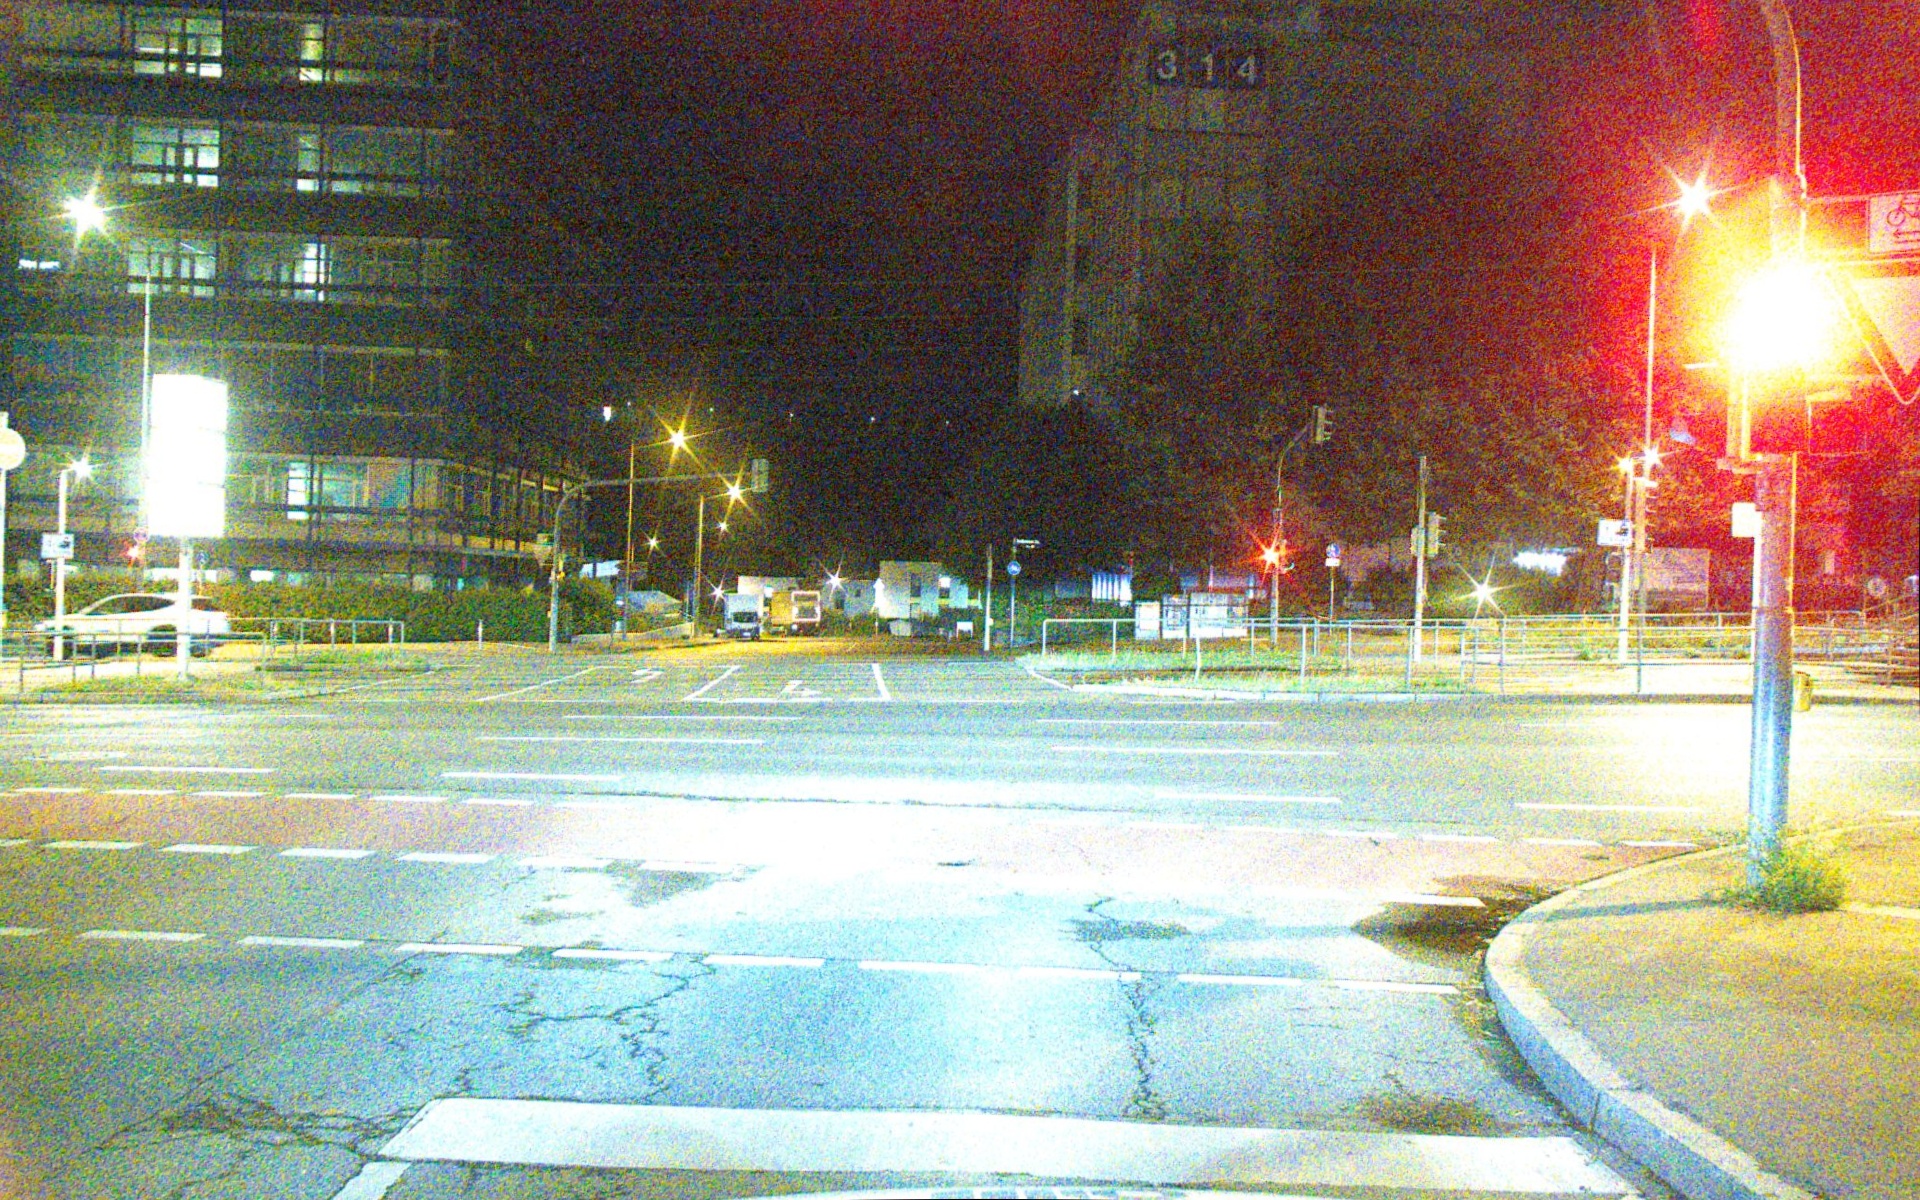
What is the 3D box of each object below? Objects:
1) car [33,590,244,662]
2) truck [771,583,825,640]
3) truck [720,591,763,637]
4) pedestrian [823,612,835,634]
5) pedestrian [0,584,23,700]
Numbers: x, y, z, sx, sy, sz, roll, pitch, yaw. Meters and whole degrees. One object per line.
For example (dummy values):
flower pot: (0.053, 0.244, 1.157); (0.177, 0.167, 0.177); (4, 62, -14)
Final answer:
car: (-20.623, 0.654, 41.647); (4.306, 1.672, 1.942); (1, -1, 2)
truck: (-14.608, 1.019, 148.619); (3.307, 4.927, 7.868); (2, -1, -17)
truck: (-15.822, 1.036, 119.458); (2.377, 3.143, 6.414); (2, -1, -14)
pedestrian: (-11.648, 2.046, 147.213); (0.836, 1.945, 1.001); (2, -1, -18)
pedestrian: (-14.736, 0.624, 24.986); (0.663, 1.752, 0.706); (1, -1, 19)
